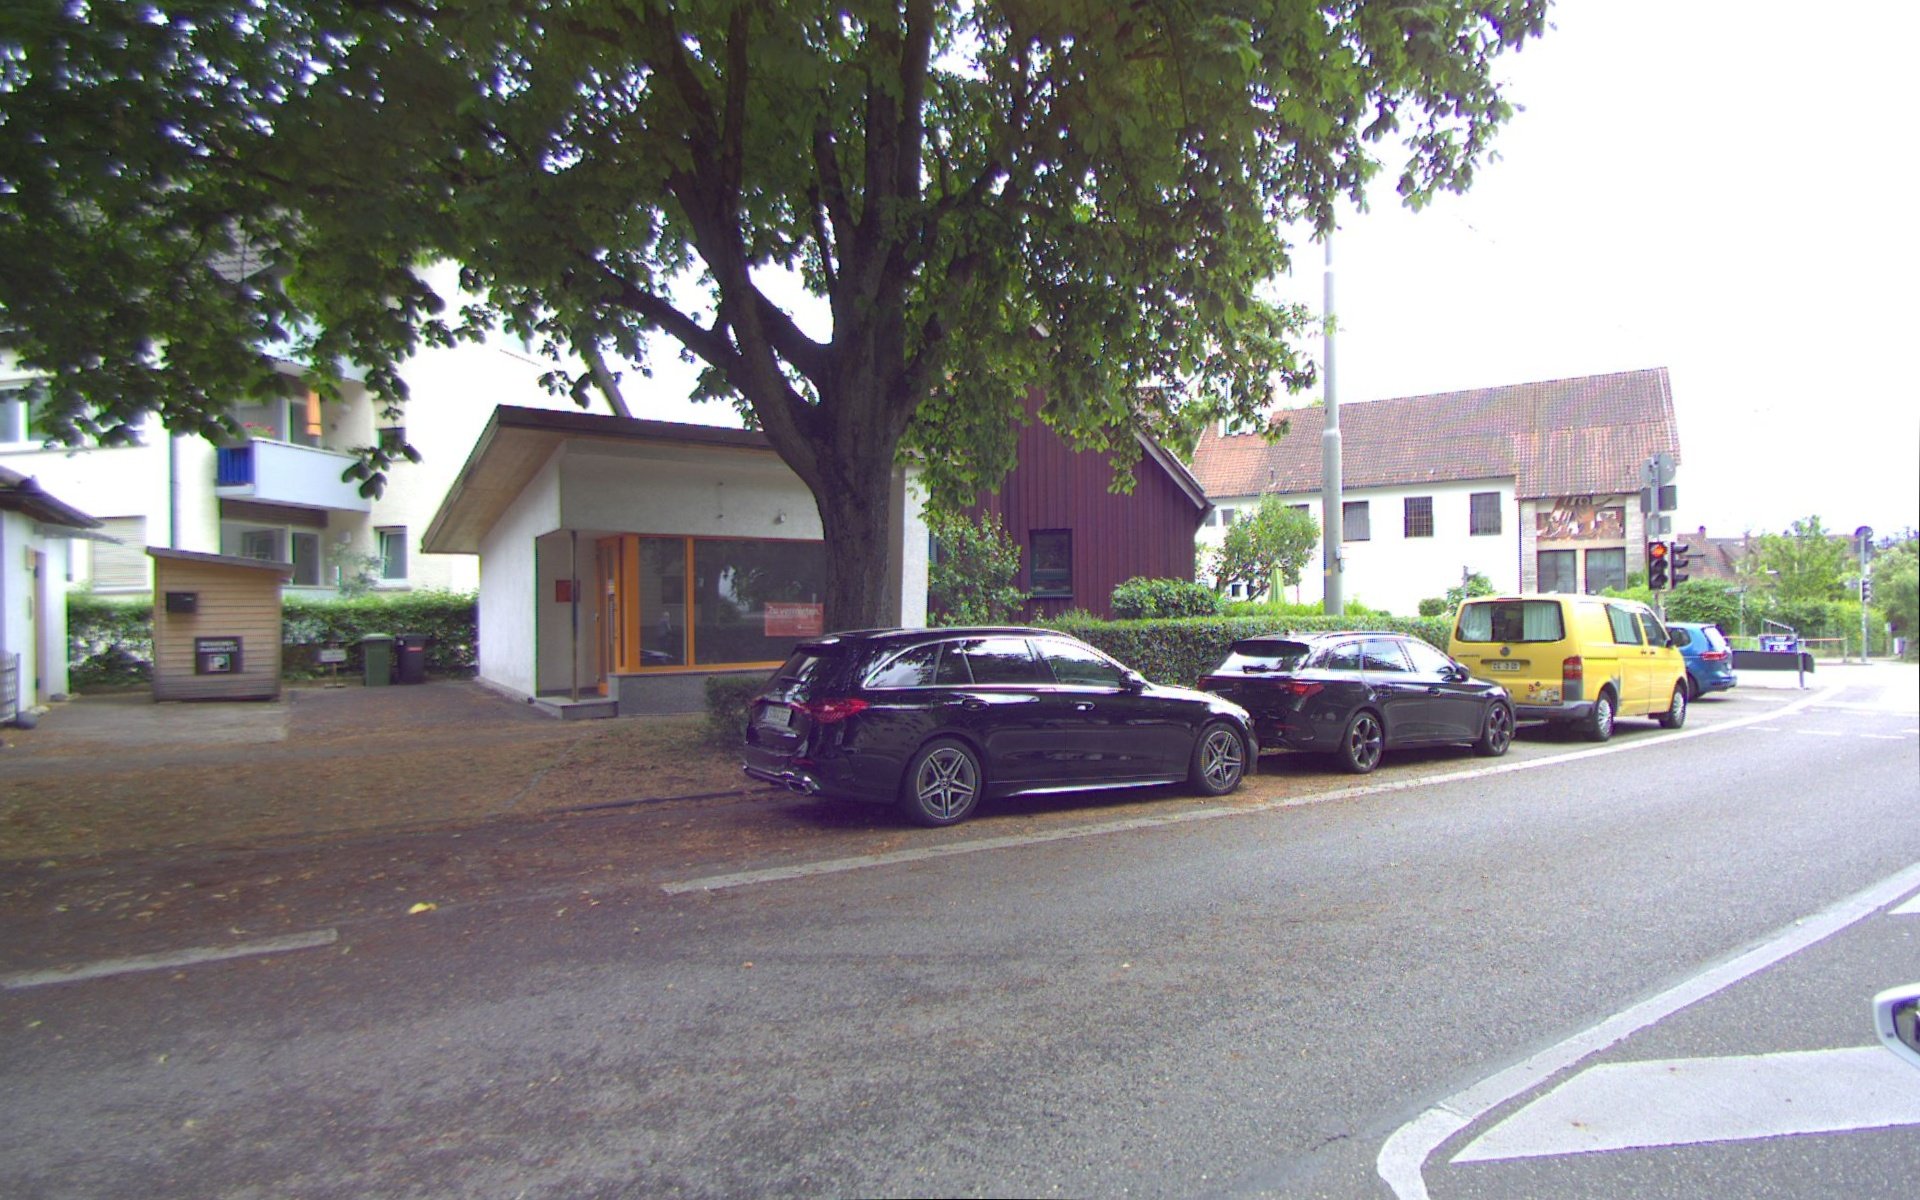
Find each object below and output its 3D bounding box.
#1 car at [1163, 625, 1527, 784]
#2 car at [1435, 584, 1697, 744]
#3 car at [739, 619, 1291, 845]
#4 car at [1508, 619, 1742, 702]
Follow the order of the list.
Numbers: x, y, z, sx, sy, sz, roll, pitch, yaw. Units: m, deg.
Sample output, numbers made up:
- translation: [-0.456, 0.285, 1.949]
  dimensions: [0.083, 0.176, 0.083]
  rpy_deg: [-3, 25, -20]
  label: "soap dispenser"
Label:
- translation: [4.526, 1.052, 11.541]
  dimensions: [4.497, 1.505, 1.680]
  rpy_deg: [1, -2, -35]
  label: "car"
- translation: [9.119, 0.882, 14.971]
  dimensions: [4.526, 2.040, 1.869]
  rpy_deg: [1, -2, -38]
  label: "car"
- translation: [0.580, 0.949, 8.840]
  dimensions: [4.563, 1.520, 1.983]
  rpy_deg: [1, -2, -32]
  label: "car"
- translation: [14.320, 1.276, 21.774]
  dimensions: [3.946, 1.632, 1.807]
  rpy_deg: [-3, -3, 44]
  label: "car"
